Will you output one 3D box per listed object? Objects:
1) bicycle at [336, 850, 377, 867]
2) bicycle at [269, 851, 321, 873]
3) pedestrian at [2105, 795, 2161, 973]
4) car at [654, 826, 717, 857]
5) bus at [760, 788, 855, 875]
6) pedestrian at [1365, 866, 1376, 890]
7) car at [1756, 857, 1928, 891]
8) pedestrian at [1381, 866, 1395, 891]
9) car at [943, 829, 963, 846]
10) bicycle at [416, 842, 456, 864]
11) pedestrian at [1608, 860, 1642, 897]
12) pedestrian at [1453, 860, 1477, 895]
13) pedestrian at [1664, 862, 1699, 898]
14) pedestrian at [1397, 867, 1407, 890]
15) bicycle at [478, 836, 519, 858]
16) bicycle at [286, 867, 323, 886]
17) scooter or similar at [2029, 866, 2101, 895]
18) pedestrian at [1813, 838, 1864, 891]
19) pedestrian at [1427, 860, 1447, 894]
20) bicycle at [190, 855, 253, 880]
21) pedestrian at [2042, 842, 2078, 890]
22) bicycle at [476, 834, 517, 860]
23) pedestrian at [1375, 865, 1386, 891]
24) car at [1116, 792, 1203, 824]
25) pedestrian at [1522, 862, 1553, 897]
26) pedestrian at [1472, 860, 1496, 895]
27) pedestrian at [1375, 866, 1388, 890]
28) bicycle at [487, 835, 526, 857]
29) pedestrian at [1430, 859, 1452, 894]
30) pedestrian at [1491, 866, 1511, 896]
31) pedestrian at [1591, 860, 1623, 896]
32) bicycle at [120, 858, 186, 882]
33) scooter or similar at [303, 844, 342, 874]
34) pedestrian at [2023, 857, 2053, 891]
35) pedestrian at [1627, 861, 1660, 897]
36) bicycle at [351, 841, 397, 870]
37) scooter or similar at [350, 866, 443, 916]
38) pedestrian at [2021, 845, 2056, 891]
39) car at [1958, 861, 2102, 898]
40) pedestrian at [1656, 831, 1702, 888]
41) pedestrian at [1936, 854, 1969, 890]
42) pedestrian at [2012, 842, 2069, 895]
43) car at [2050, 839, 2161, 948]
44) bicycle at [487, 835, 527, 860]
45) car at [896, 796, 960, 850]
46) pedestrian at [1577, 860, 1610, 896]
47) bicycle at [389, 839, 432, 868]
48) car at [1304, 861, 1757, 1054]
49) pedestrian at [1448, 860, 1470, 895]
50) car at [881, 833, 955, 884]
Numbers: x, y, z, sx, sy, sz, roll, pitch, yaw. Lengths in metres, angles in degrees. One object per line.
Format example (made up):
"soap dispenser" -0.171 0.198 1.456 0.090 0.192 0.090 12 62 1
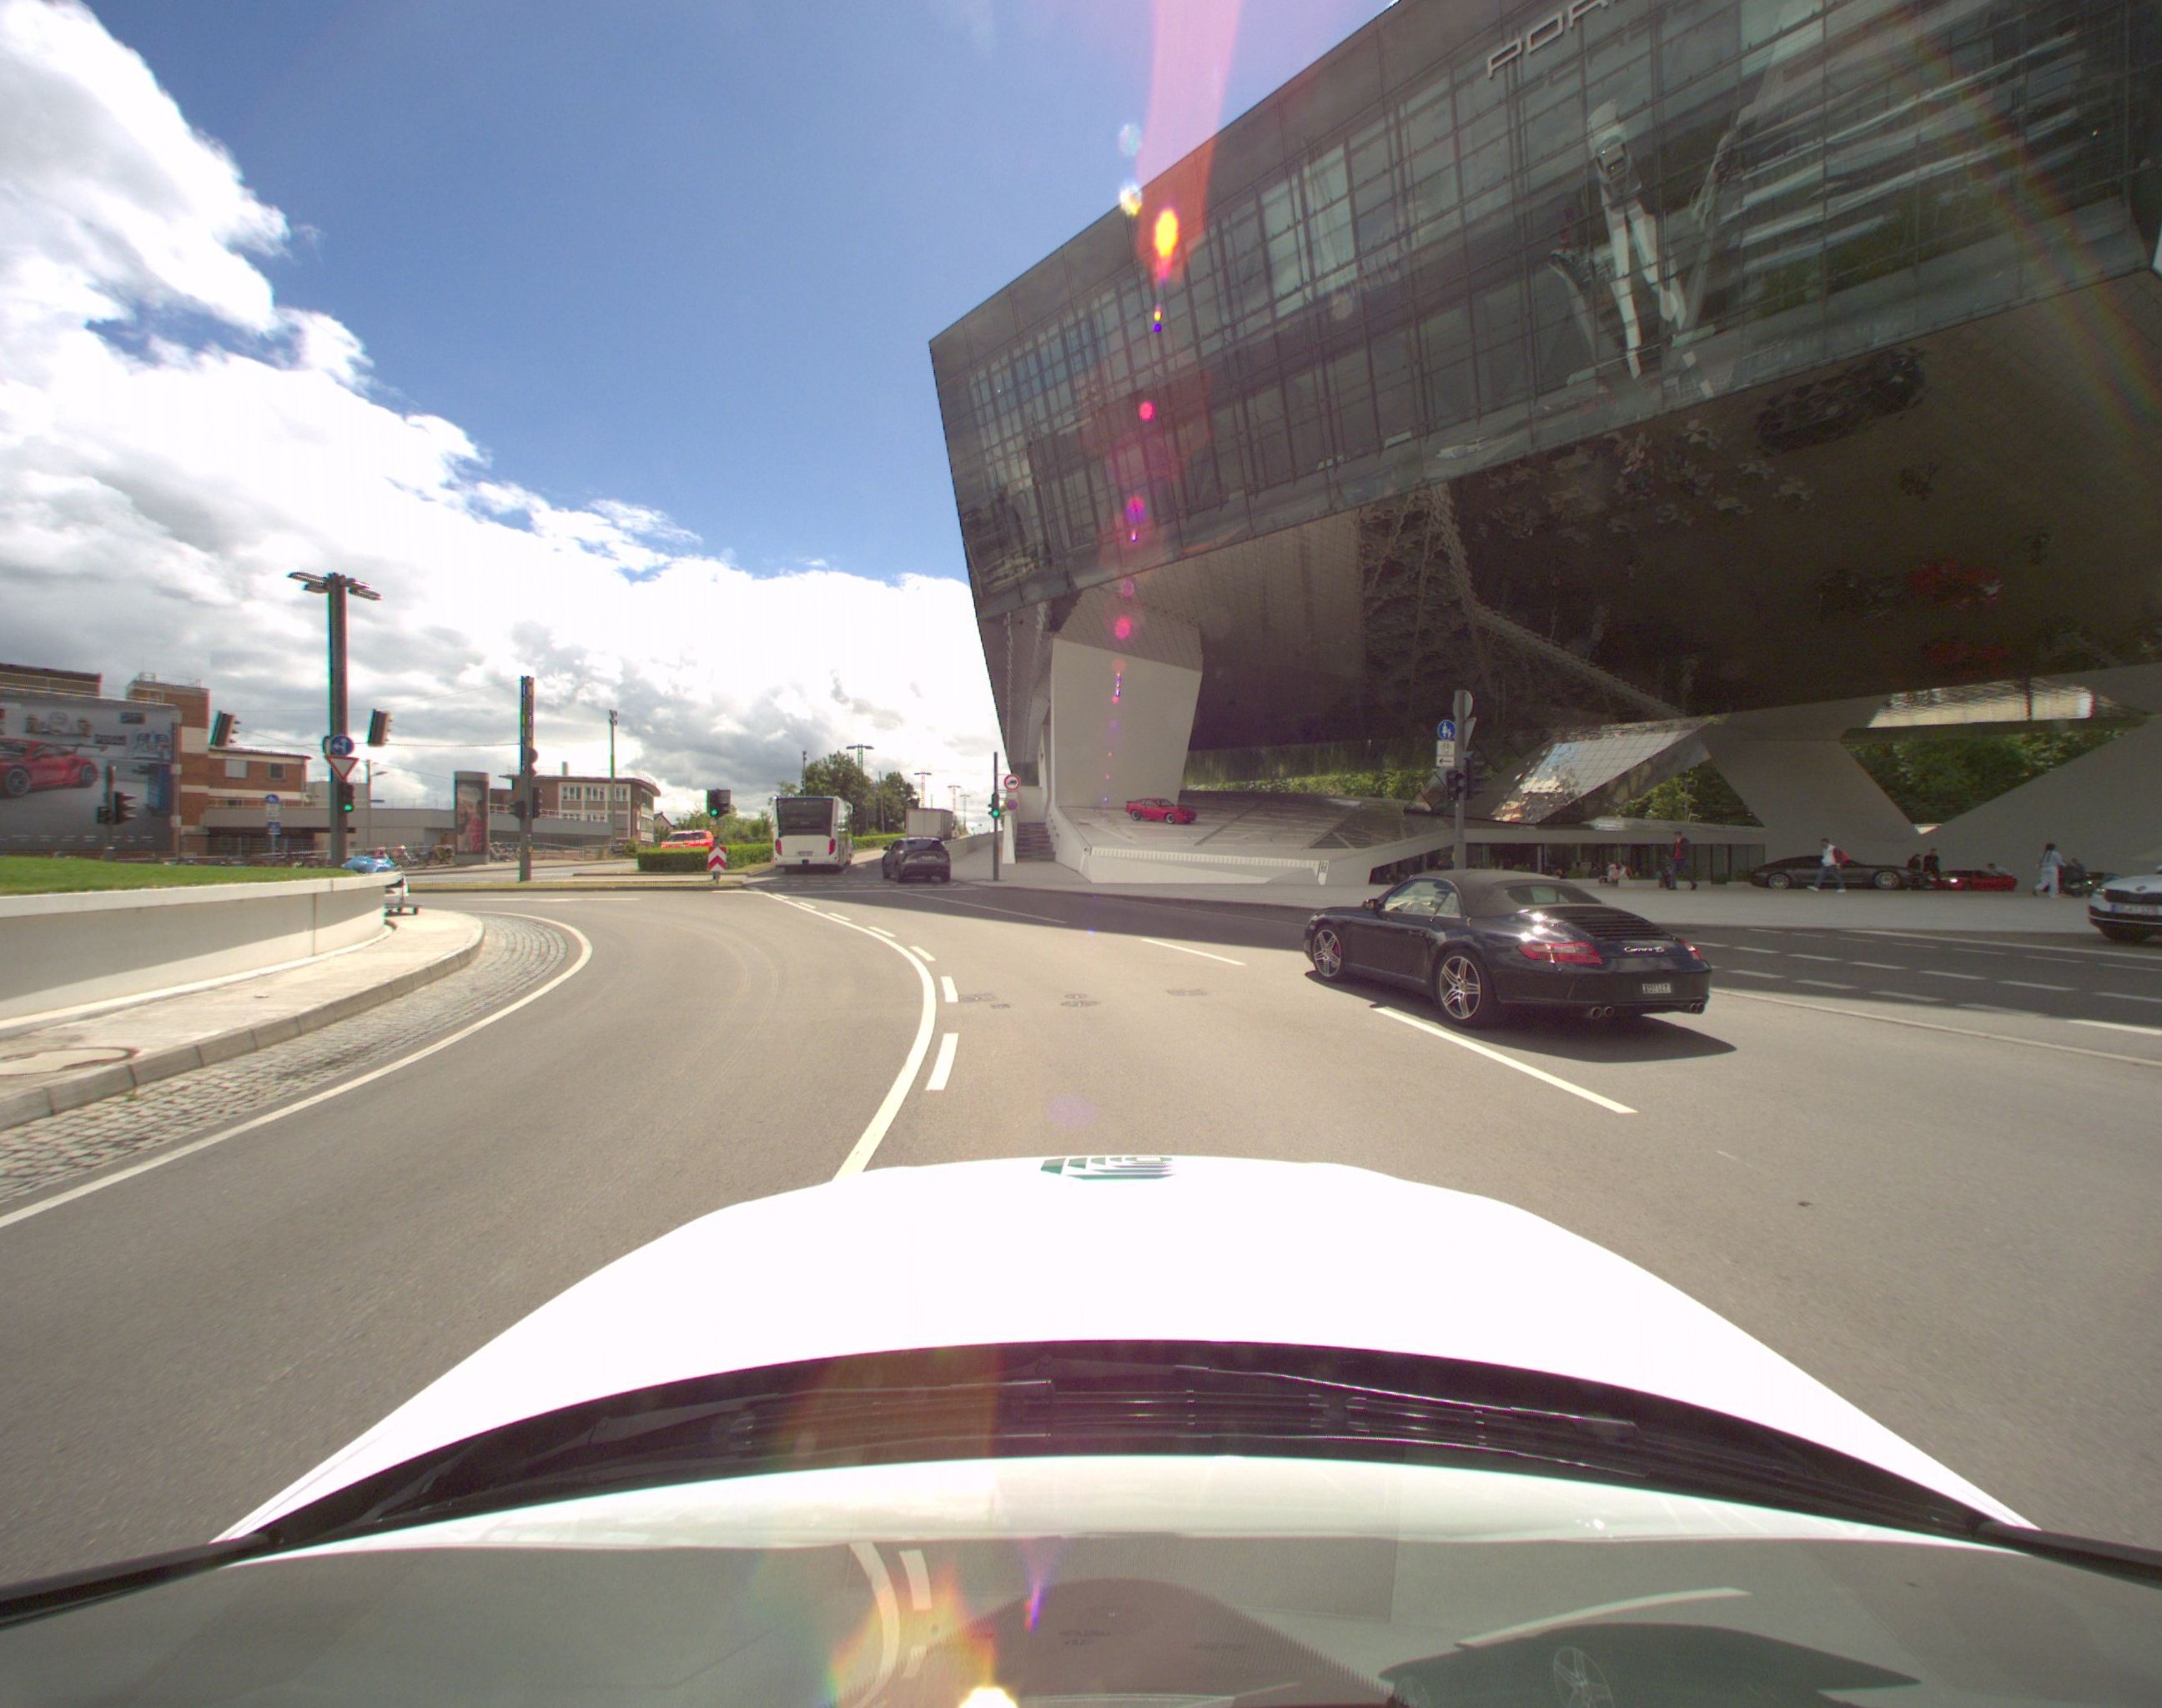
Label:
"bicycle" -36.835 0.228 41.417 0.488 0.866 1.614 0 0 8
"bicycle" -34.124 0.355 35.383 0.488 0.866 1.615 0 2 8
"pedestrian" 12.530 0.342 8.914 0.947 1.984 1.386 1 1 12
"car" -26.585 -0.833 54.994 1.988 1.983 4.834 -1 1 -2
"bus" -12.516 -1.203 38.338 3.076 3.361 12.170 2 3 -13
"pedestrian" 15.177 1.258 42.665 0.392 1.253 0.563 1 -1 7
"car" 29.502 0.746 31.730 2.009 1.221 4.626 2 -1 -36
"pedestrian" 16.026 1.274 42.511 0.554 1.253 0.477 0 -2 36
"car" -15.458 -1.965 98.496 1.989 1.904 3.994 1 -1 -4
"bicycle" -33.414 -0.053 42.194 1.603 1.056 0.492 1 -1 -5
"pedestrian" 24.047 1.074 35.997 0.828 1.573 0.919 2 -1 -13
"pedestrian" 17.294 1.050 36.675 0.912 1.573 0.835 1 -1 23
"pedestrian" 26.850 1.144 36.421 0.827 1.573 0.921 1 -1 -6
"pedestrian" 17.552 1.341 44.468 0.468 1.253 0.564 1 -1 19
"bicycle" -33.263 -0.419 46.504 1.735 1.181 0.669 1 5 -7
"bicycle" -36.820 1.047 38.647 0.491 0.866 1.604 2 -1 -12
"scooter or similar" 29.510 0.779 24.444 1.109 0.840 0.946 1 -1 -8
"pedestrian" 24.576 0.355 26.434 0.828 1.676 0.919 2 -1 -13
"pedestrian" 16.810 1.067 38.439 0.820 1.573 0.928 1 -1 24
"bicycle" -34.748 0.540 32.946 0.487 0.866 1.621 1 3 24
"pedestrian" 42.097 0.523 35.026 0.828 2.014 0.771 2 -2 -22
"bicycle" -32.805 -0.378 45.728 1.734 1.381 0.669 1 -1 -5
"pedestrian" 14.648 1.152 39.871 0.392 1.253 0.401 1 -1 7
"car" 4.293 -2.599 45.098 4.458 1.394 2.013 10 10 42
"pedestrian" 20.939 1.170 37.370 0.828 1.573 0.919 2 -1 -13
"pedestrian" 18.411 1.084 37.228 0.697 1.573 0.786 2 -2 -42
"pedestrian" 15.981 1.286 43.293 0.554 1.253 0.477 0 -2 36
"bicycle" -33.376 -0.459 47.318 1.734 1.182 0.669 1 0 -5
"pedestrian" 16.459 1.040 37.251 0.821 1.573 0.928 1 -1 19
"pedestrian" 18.908 1.214 36.666 0.637 1.318 0.697 0 -2 44
"pedestrian" 23.845 1.079 36.938 0.828 1.573 0.919 2 -1 -13
"bicycle" -35.669 0.609 31.327 0.486 0.866 1.621 0 2 37
"scooter or similar" -33.213 0.205 35.684 0.492 1.231 1.388 1 2 -4
"pedestrian" 49.006 1.022 41.712 0.827 1.739 0.772 2 -1 -19
"pedestrian" 25.269 1.112 36.579 0.828 1.573 0.919 2 -1 -13
"bicycle" -33.189 0.059 38.250 1.603 1.316 0.492 1 -1 -5
"scooter or similar" -12.684 0.663 15.095 1.246 0.848 0.914 1 1 28
"pedestrian" 42.568 0.624 36.204 0.828 2.014 0.771 2 -1 -22
"car" 43.846 1.166 37.736 3.960 1.549 2.007 1 -1 12
"pedestrian" 19.822 0.181 26.994 0.828 1.826 0.919 2 -1 -13
"pedestrian" 42.983 0.868 40.169 0.818 1.739 0.780 1 -1 18
"pedestrian" 28.643 0.431 24.319 0.784 1.541 0.801 1 -1 -8
"car" 17.300 0.537 11.898 3.971 1.550 1.839 -1 -1 2
"bicycle" -32.883 -0.370 46.689 1.734 1.381 0.669 1 -1 -5
"car" -11.370 -2.219 61.523 3.327 3.504 9.333 1 -1 -2
"pedestrian" 22.851 1.059 36.311 0.828 1.573 0.919 2 -1 -13
"bicycle" -32.950 -0.033 40.024 1.603 1.383 0.492 1 -1 -5
"car" 3.910 0.761 7.991 1.834 1.325 3.987 0 0 -10
"pedestrian" 17.579 1.076 37.892 0.912 1.573 0.835 1 -1 23
"car" -6.044 0.106 29.814 2.001 1.636 3.973 1 2 -21
